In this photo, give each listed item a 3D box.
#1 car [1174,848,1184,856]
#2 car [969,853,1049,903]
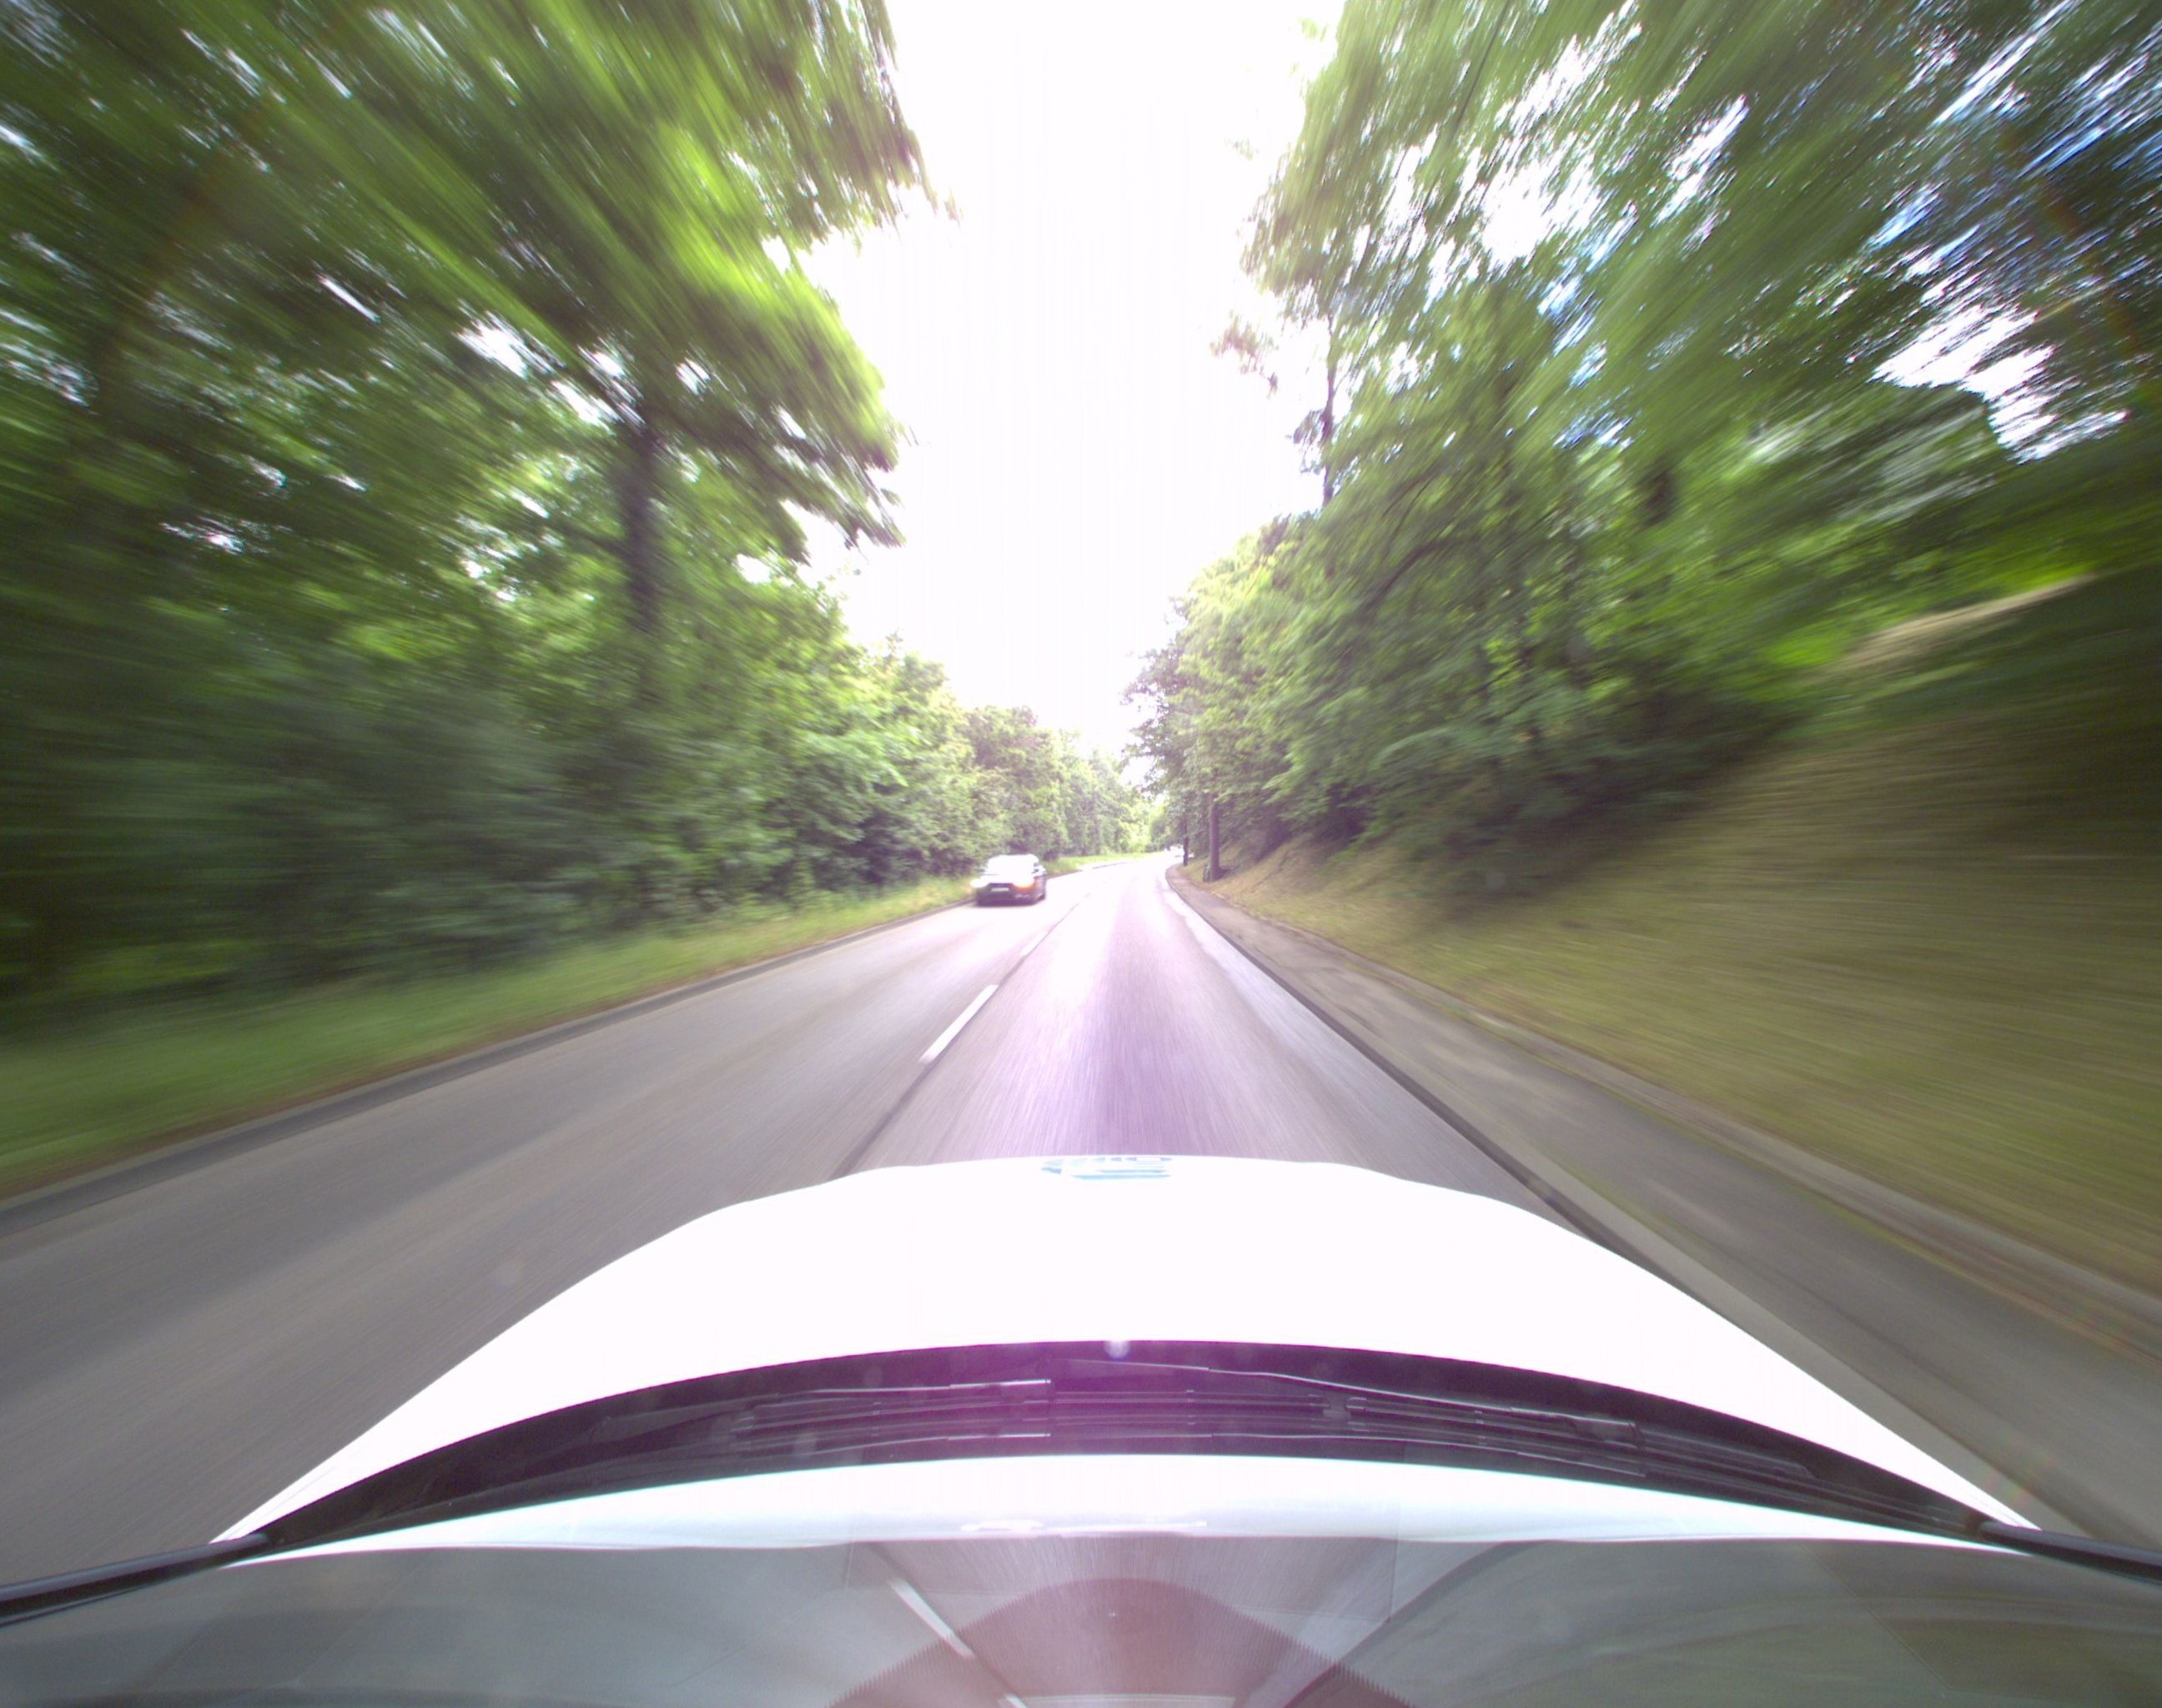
[{"bbox_3d":[20.676,-0.406,171.501,1.982,1.753,4.792,0,-1,8],"label":"car"},{"bbox_3d":[-2.133,0.706,25.356,1.986,1.437,4.001,0,-1,2],"label":"car"}]
